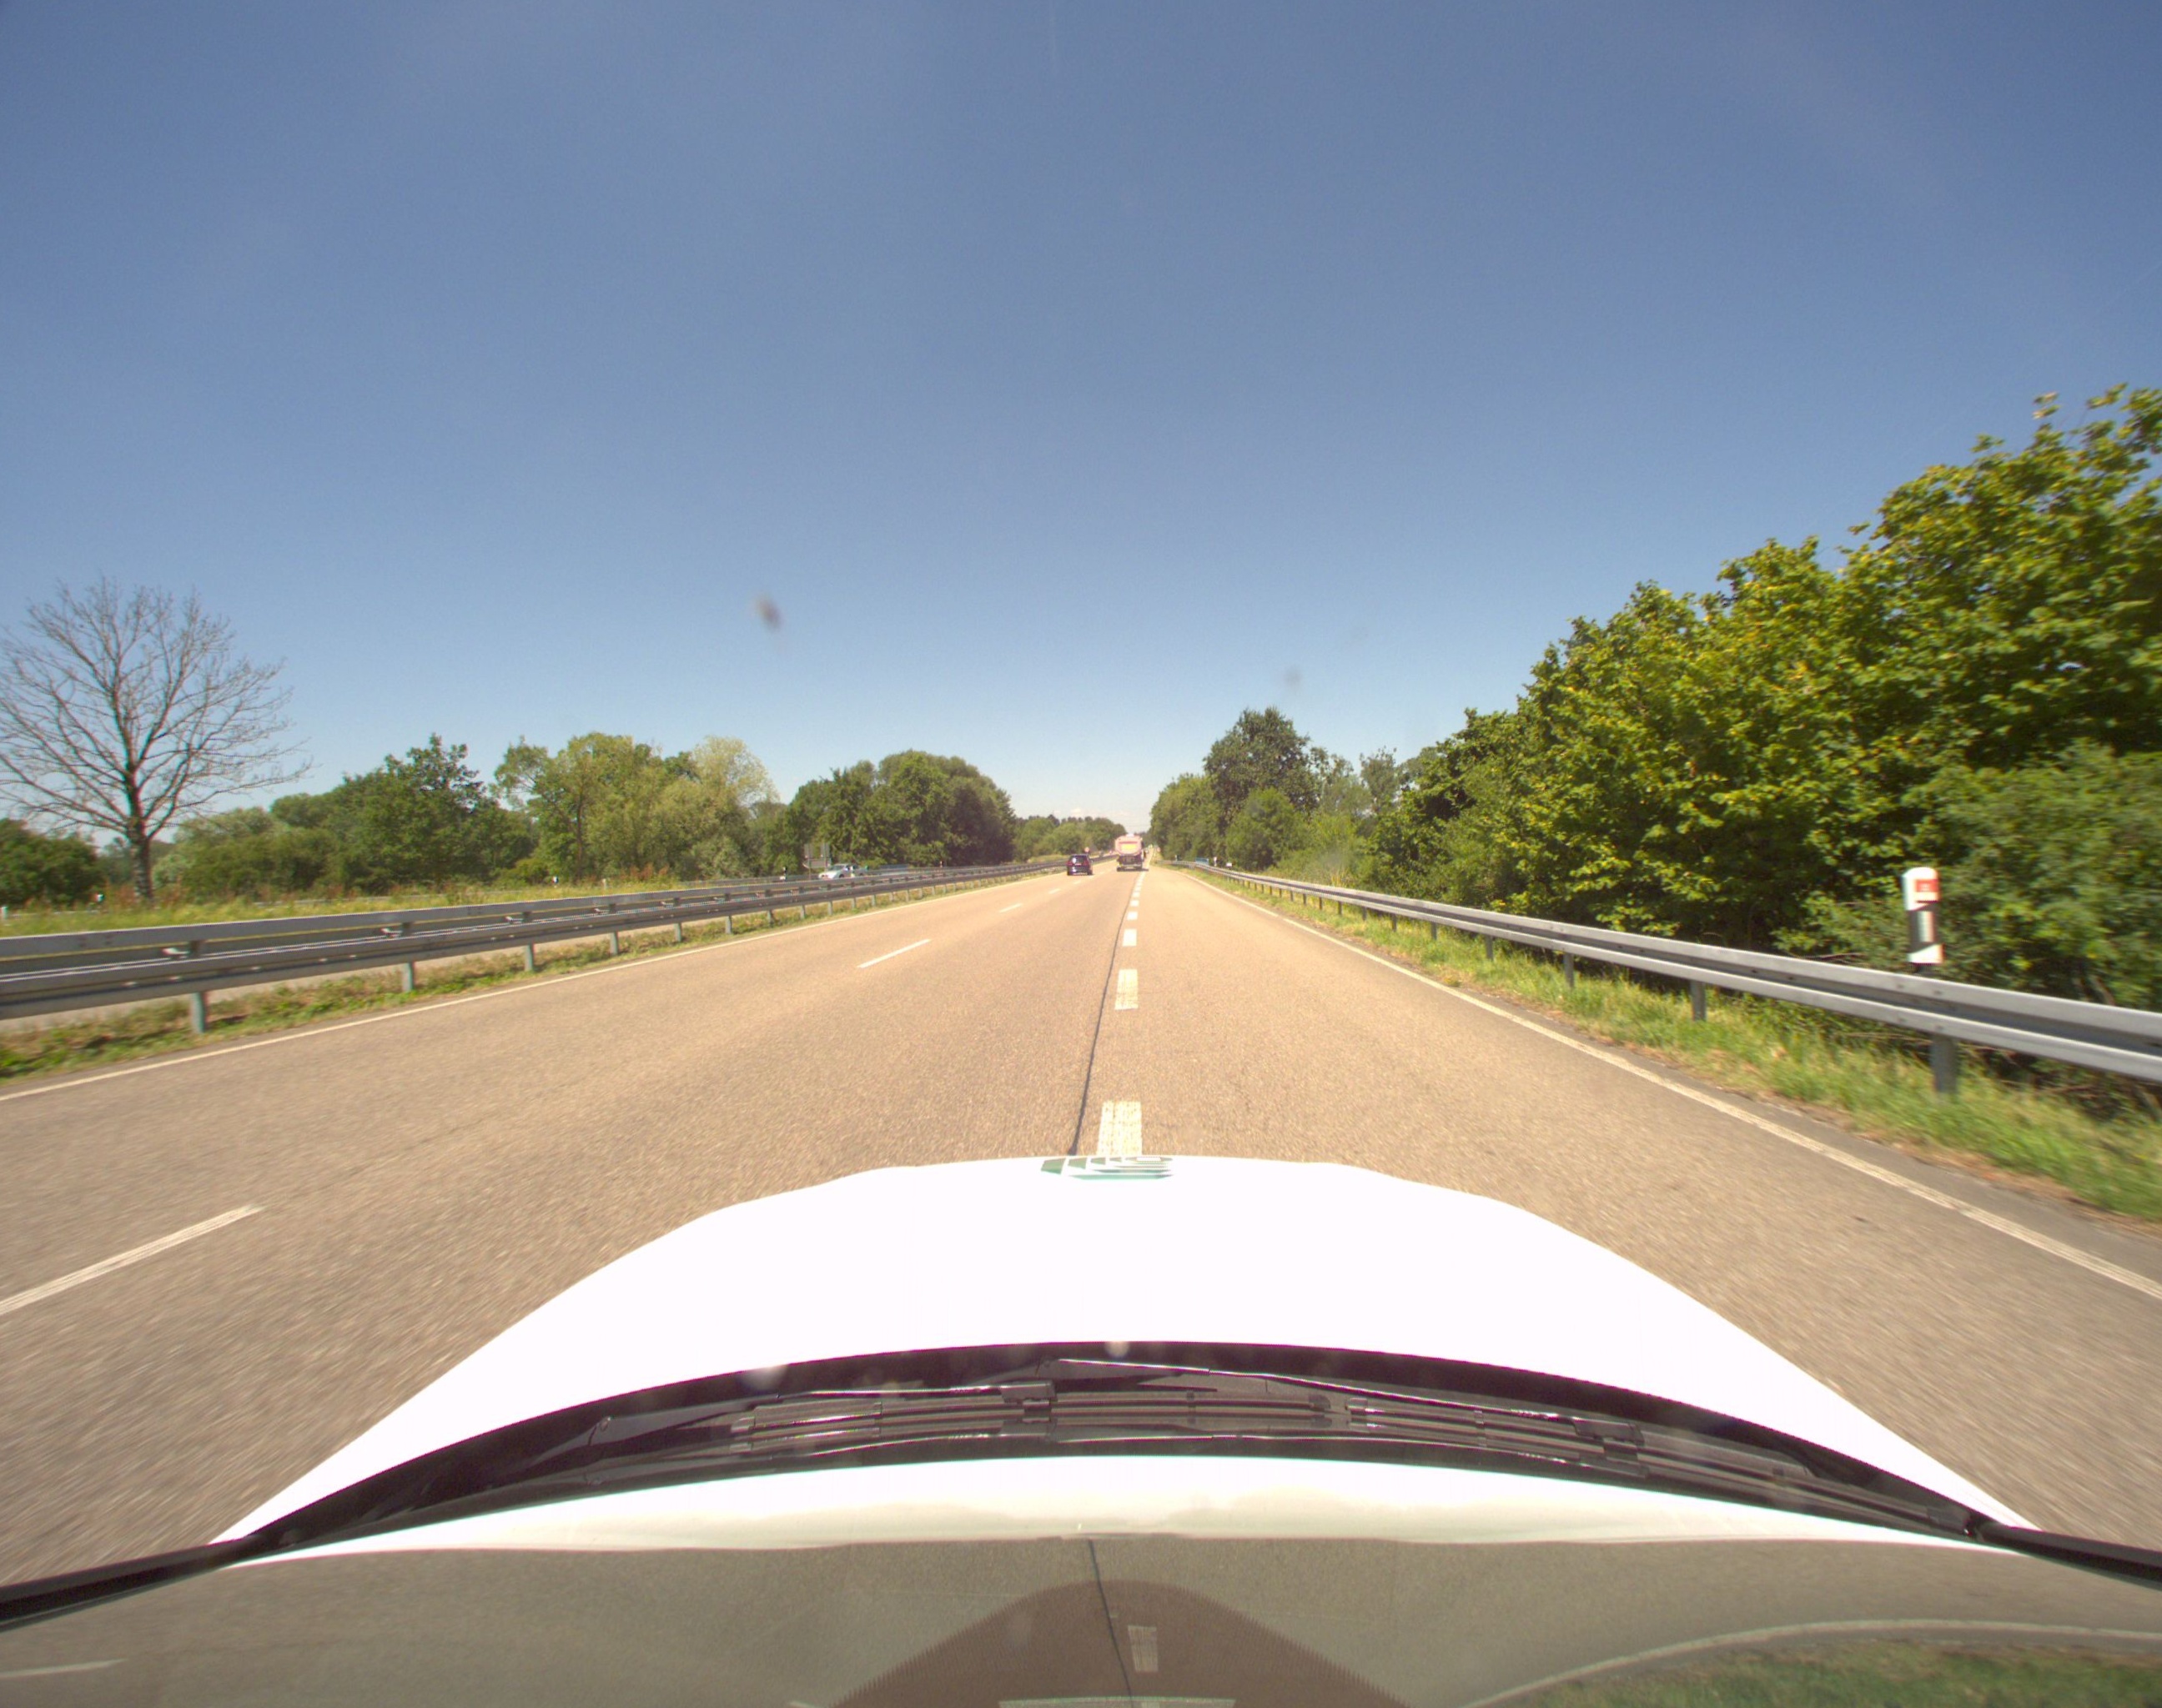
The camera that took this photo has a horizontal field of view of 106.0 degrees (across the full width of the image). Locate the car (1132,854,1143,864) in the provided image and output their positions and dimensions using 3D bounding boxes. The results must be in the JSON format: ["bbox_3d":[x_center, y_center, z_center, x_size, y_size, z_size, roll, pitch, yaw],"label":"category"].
[{"bbox_3d":[9.942,0.911,143.132,1.849,1.671,4.004,-1,-1,4],"label":"car"}]

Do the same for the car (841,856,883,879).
[{"bbox_3d":[-15.060,0.918,56.248,1.912,1.489,3.997,-1,-1,-1],"label":"car"}]

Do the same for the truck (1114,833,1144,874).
[{"bbox_3d":[5.114,-0.144,84.929,2.708,3.930,12.386,-1,1,4],"label":"truck"}]

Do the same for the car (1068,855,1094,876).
[{"bbox_3d":[0.010,0.922,67.344,1.849,1.671,4.004,-1,-1,4],"label":"car"}]

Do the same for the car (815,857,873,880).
[{"bbox_3d":[-18.013,1.049,62.101,1.710,1.645,4.967,-1,0,19],"label":"car"}]
